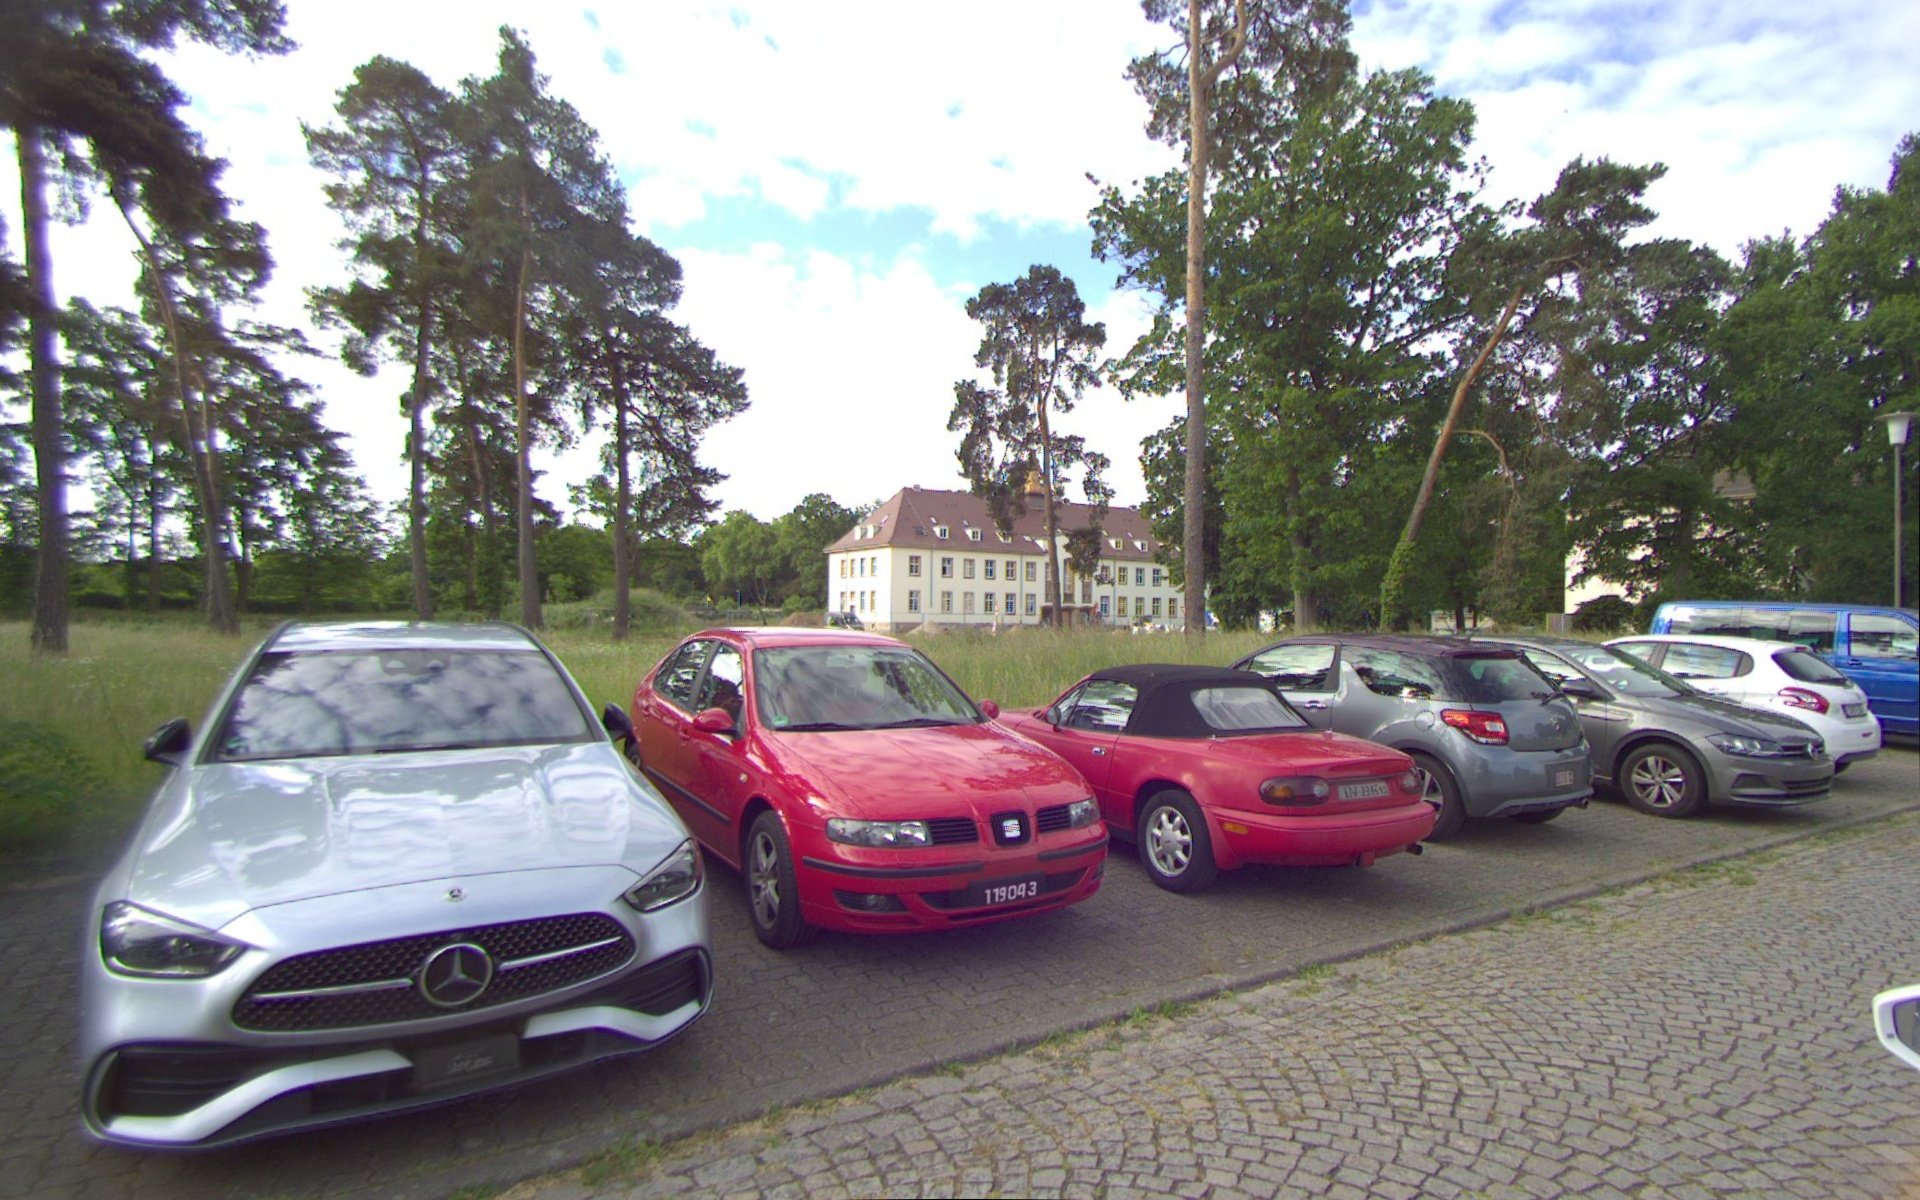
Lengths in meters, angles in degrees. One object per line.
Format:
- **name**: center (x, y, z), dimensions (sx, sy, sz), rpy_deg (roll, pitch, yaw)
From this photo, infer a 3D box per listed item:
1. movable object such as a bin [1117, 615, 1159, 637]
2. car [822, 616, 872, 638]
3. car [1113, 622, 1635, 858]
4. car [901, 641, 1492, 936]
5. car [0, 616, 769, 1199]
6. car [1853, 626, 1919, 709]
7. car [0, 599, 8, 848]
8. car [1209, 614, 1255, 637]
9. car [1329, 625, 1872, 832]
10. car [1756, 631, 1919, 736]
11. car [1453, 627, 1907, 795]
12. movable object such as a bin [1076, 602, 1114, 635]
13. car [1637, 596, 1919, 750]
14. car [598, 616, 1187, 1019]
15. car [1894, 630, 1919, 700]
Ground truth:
- **movable object such as a bin**: center (19.879, 2.882, 112.524), dimensions (2.350, 2.283, 4.491), rpy_deg (3, -2, -27)
- **car**: center (-11.872, 2.816, 105.559), dimensions (2.352, 2.143, 5.756), rpy_deg (3, -2, -40)
- **car**: center (3.332, 0.981, 8.901), dimensions (1.735, 1.500, 4.068), rpy_deg (1, 0, -30)
- **car**: center (1.314, 1.023, 7.183), dimensions (1.744, 1.300, 4.109), rpy_deg (1, 0, -32)
- **car**: center (-2.591, 0.862, 4.678), dimensions (1.927, 1.474, 4.414), rpy_deg (2, -1, -31)
- **car**: center (20.092, 1.344, 19.307), dimensions (1.933, 1.596, 4.044), rpy_deg (1, 0, -33)
- **car**: center (-4.801, 0.751, 3.204), dimensions (1.852, 1.557, 4.472), rpy_deg (2, -1, -35)
- **car**: center (26.758, 2.512, 98.658), dimensions (4.299, 2.122, 2.050), rpy_deg (3, -3, -33)
- **car**: center (6.018, 1.050, 10.036), dimensions (1.711, 1.500, 4.284), rpy_deg (1, 0, -30)
- **car**: center (15.024, 1.294, 15.676), dimensions (1.708, 1.513, 3.770), rpy_deg (1, 0, -34)
- **car**: center (8.219, 1.127, 11.868), dimensions (1.821, 1.522, 3.986), rpy_deg (1, 0, -30)
- **movable object such as a bin**: center (15.626, 2.184, 116.711), dimensions (2.106, 3.689, 6.118), rpy_deg (2, -2, -15)
- **car**: center (12.794, 0.961, 14.435), dimensions (2.016, 2.007, 4.683), rpy_deg (1, 0, -32)
- **car**: center (-0.796, 0.872, 6.120), dimensions (1.834, 1.474, 4.231), rpy_deg (1, 0, -32)
- **car**: center (22.298, 1.432, 20.982), dimensions (1.742, 1.506, 3.795), rpy_deg (1, 0, -32)
